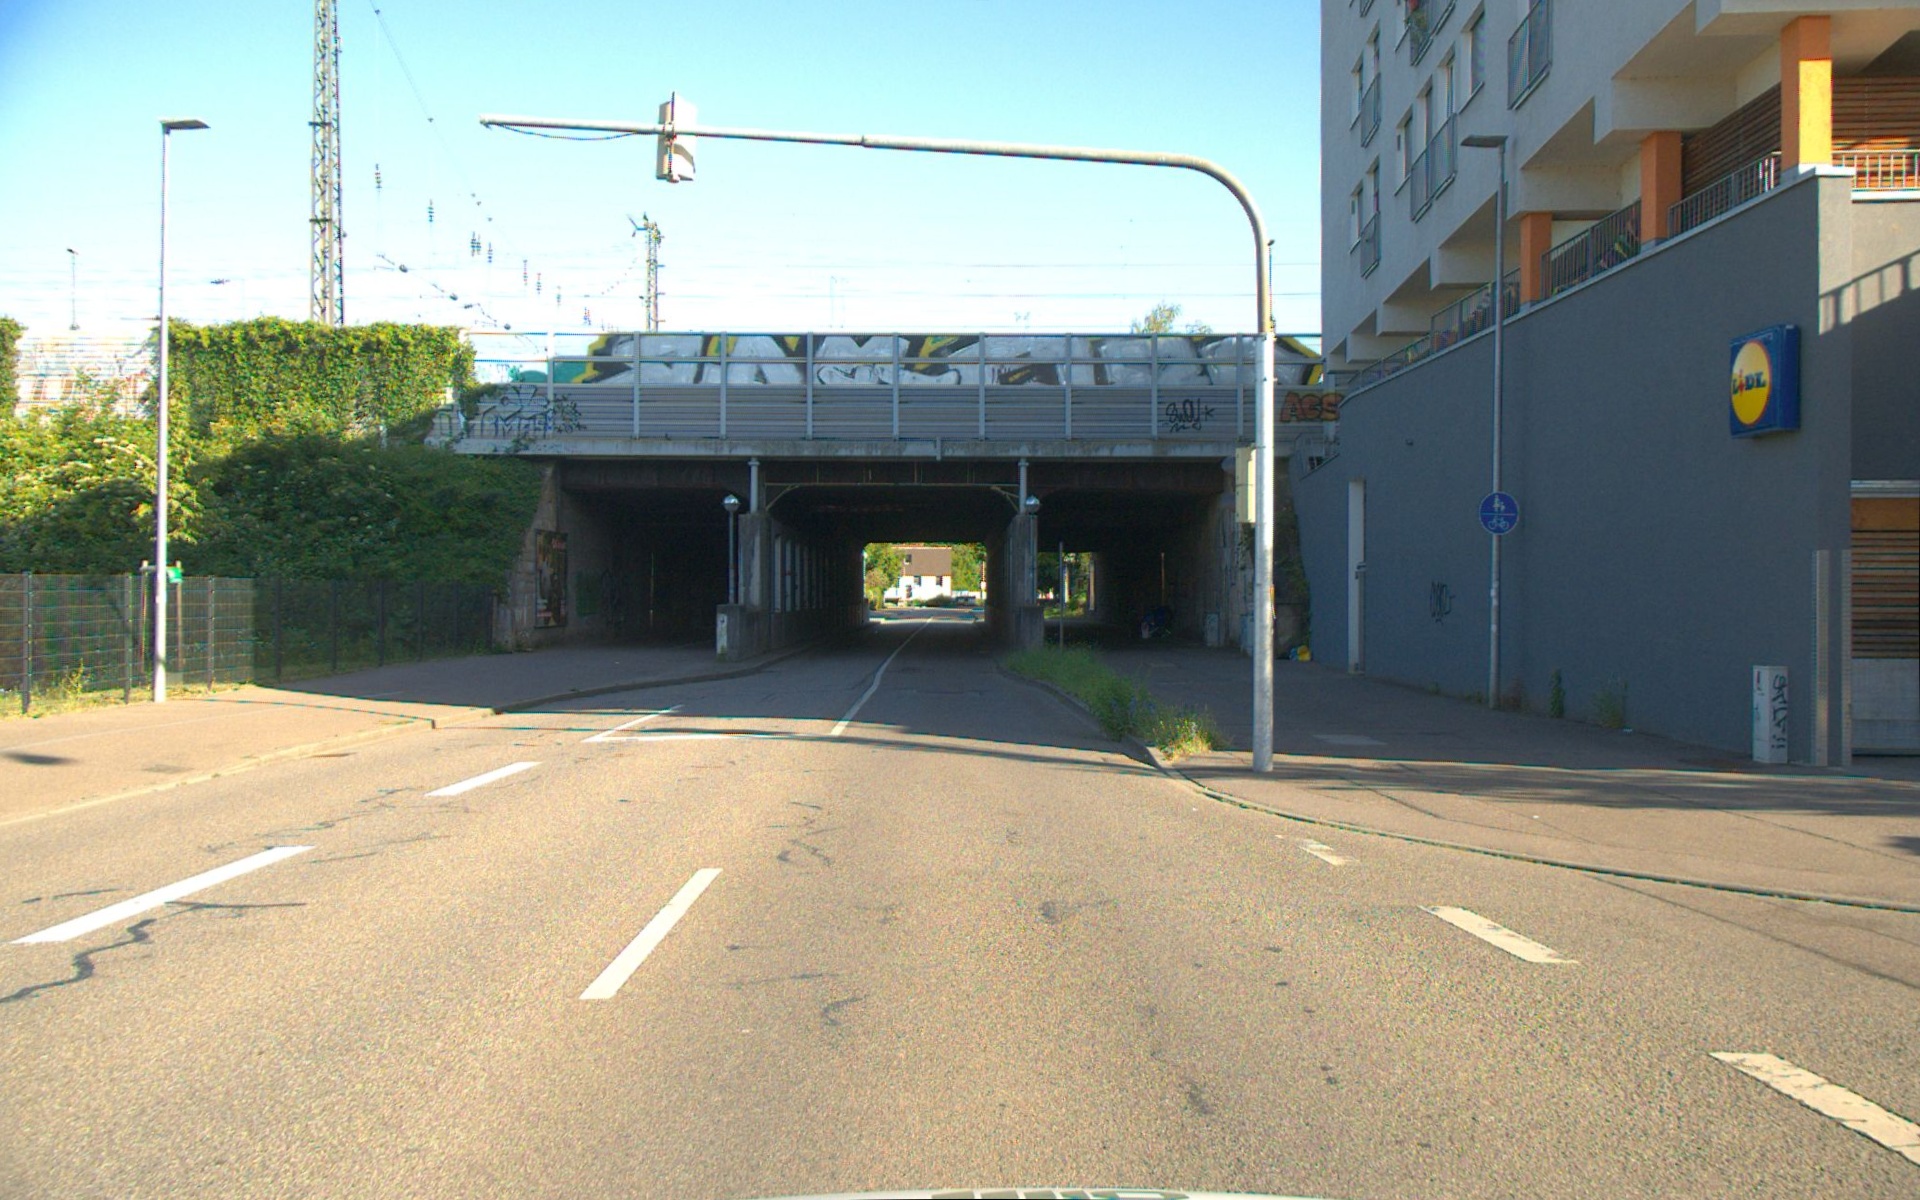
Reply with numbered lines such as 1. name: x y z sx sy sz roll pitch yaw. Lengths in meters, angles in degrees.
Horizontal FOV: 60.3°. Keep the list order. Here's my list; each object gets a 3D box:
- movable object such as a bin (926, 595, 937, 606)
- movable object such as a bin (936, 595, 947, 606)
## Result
1. movable object such as a bin: -3.797 0.033 219.150 1.339 1.443 1.064 2 -1 -7
2. movable object such as a bin: -2.437 0.084 219.399 1.339 1.443 1.064 2 -1 -7
